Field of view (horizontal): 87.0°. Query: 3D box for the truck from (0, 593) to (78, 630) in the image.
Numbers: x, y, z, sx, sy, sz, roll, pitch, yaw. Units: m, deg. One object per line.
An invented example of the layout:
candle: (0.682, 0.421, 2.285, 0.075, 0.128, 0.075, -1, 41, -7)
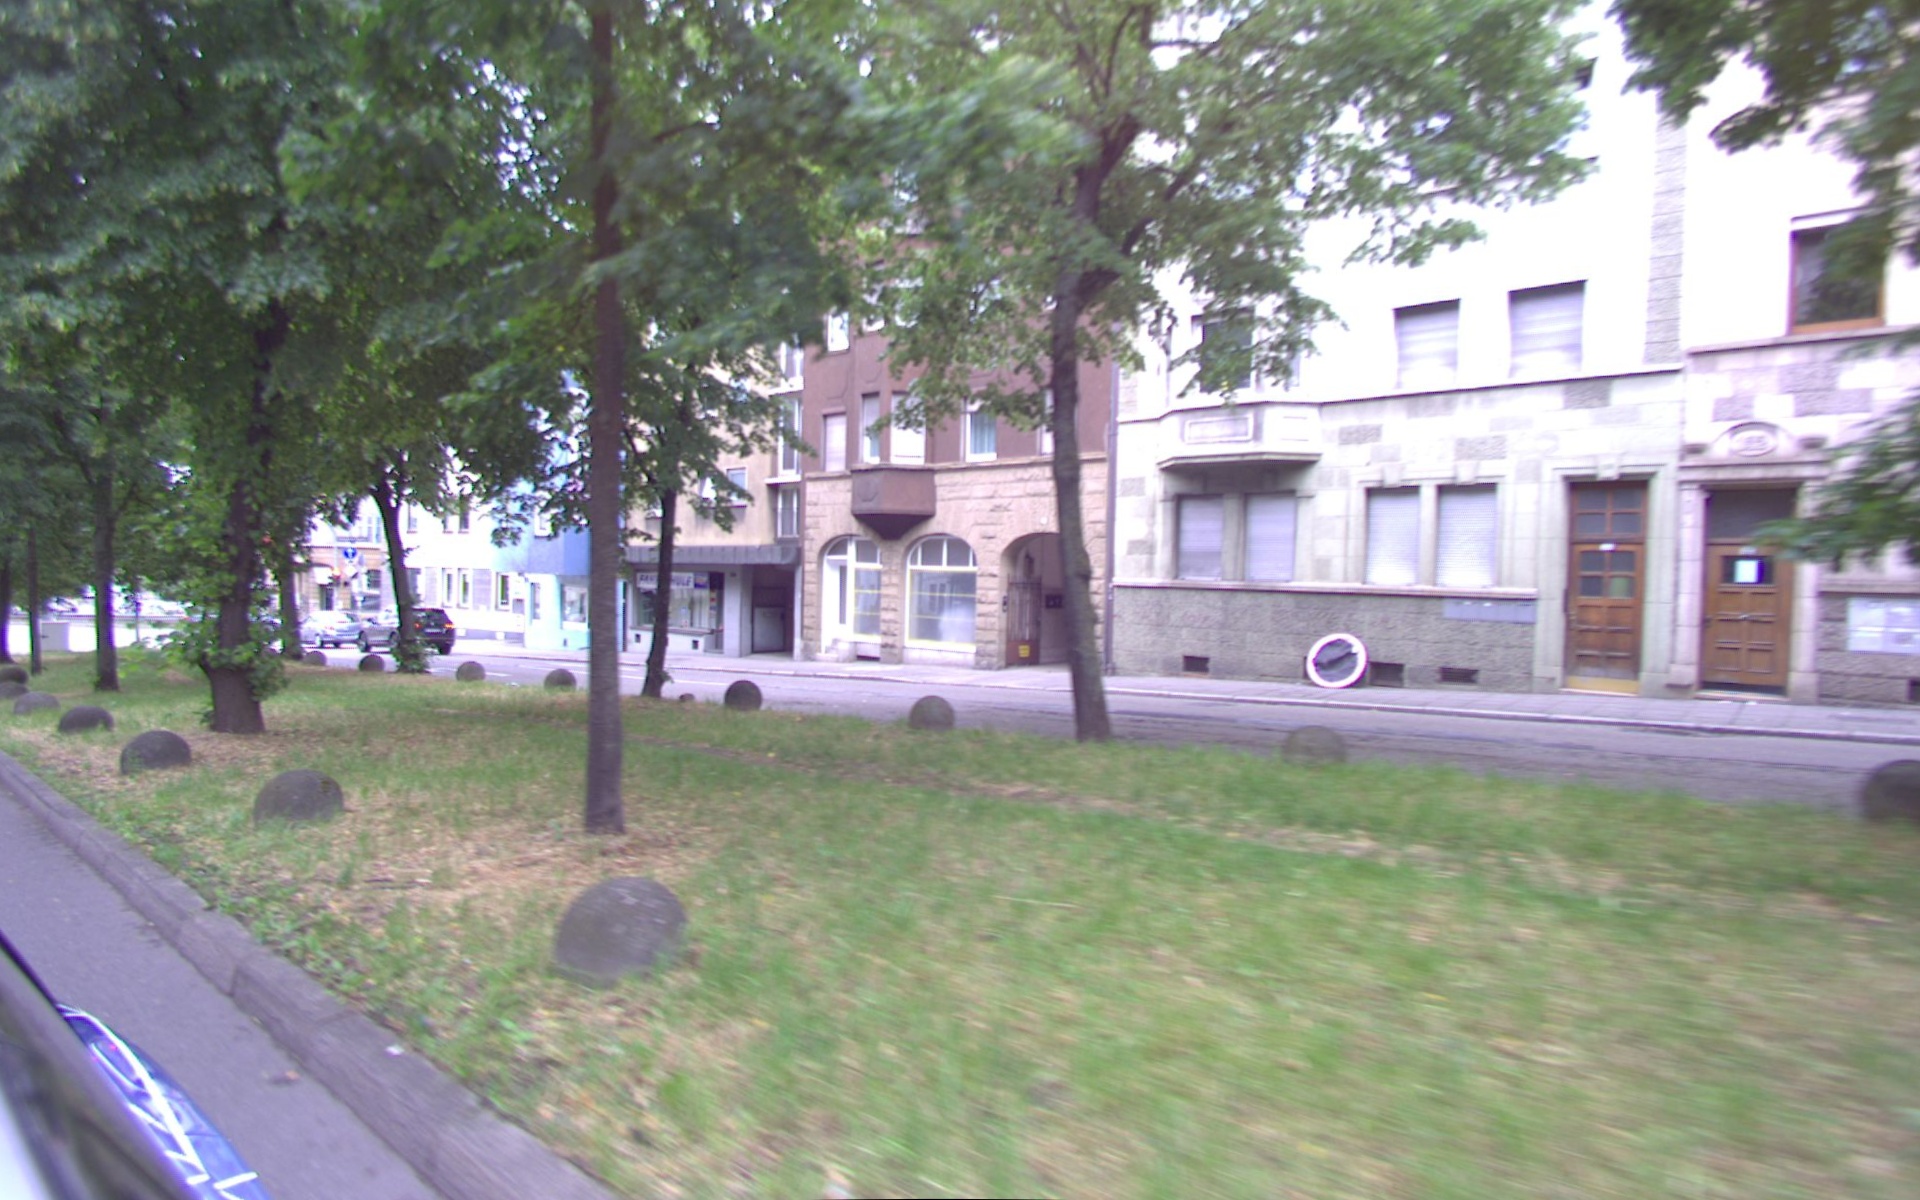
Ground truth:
truck: (-71.185, 0.906, 76.646, 2.739, 2.744, 6.442, -1, -1, 7)

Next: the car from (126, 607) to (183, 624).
car: (-78.197, 1.491, 98.306, 3.868, 1.610, 1.898, 0, 2, -12)

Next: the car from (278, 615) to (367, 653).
car: (-25.250, 1.339, 40.051, 4.289, 1.417, 1.653, -1, -1, 38)

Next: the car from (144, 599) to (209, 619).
car: (-65.463, 0.753, 84.617, 3.874, 1.610, 1.895, 0, 2, -4)

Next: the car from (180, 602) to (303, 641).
car: (-35.556, 1.031, 50.221, 4.647, 1.626, 1.865, -2, 2, -24)

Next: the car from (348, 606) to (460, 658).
car: (-19.330, 1.071, 35.118, 4.675, 1.649, 1.797, 0, -1, 40)
